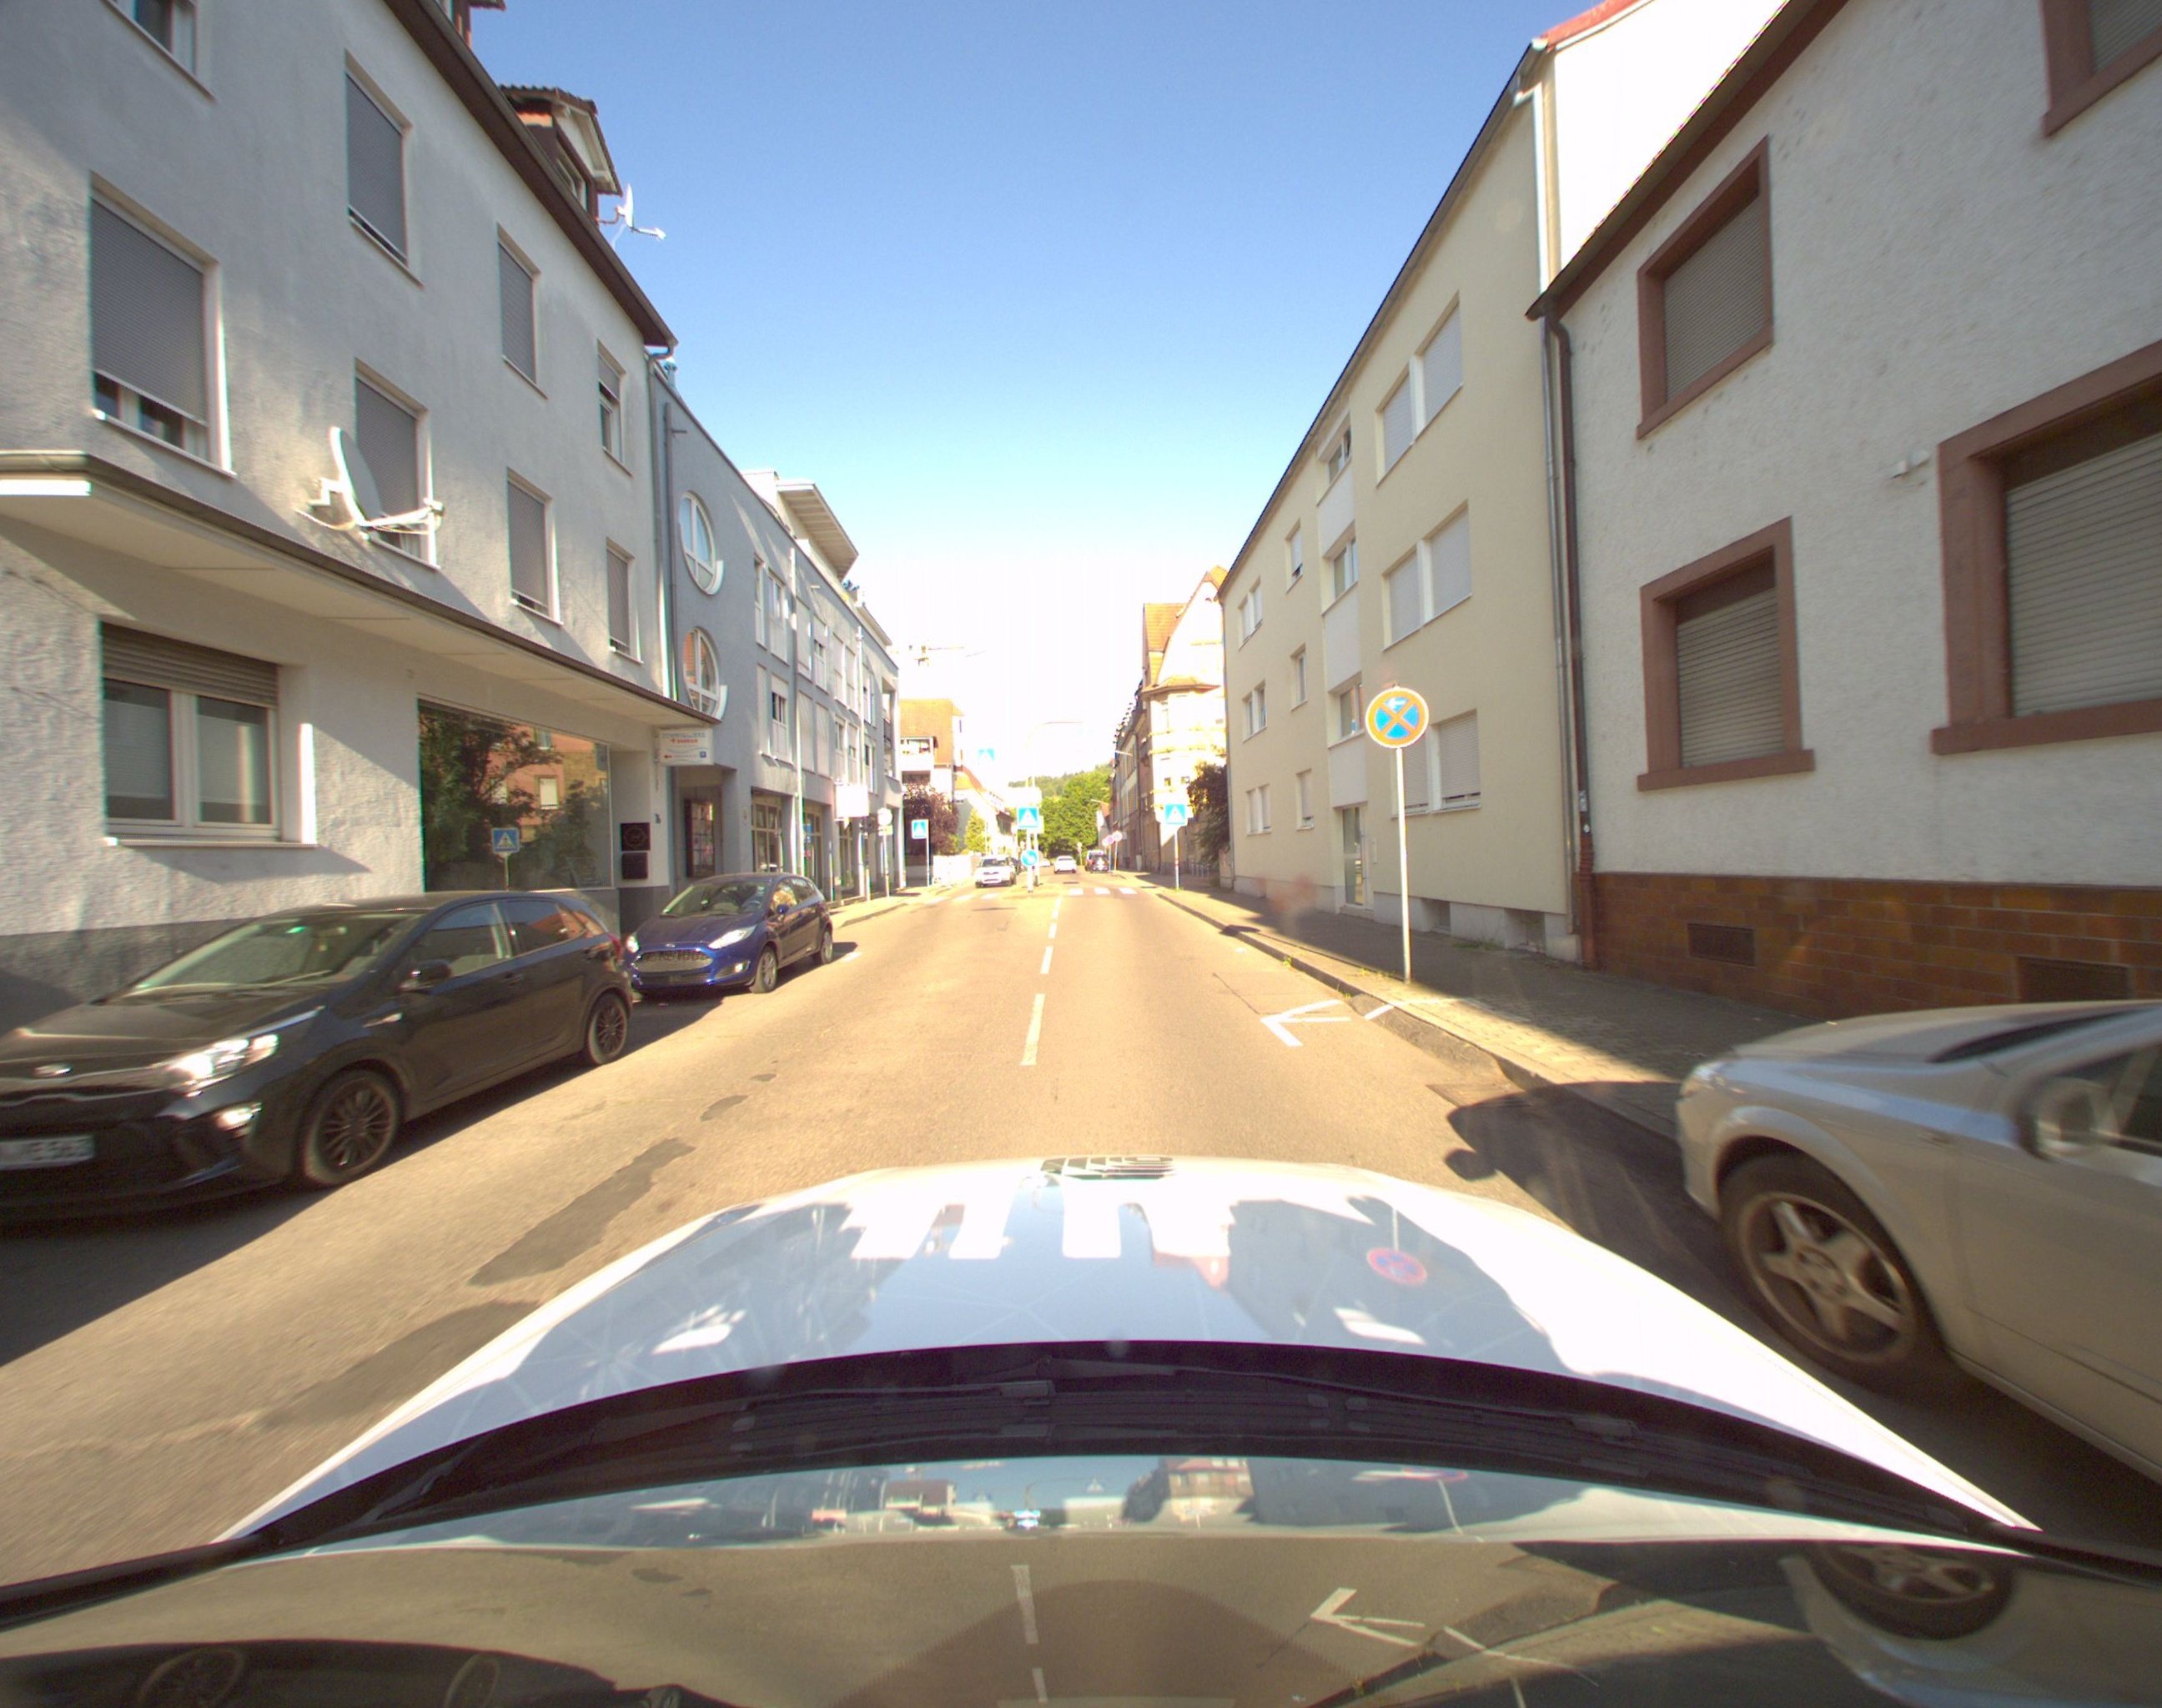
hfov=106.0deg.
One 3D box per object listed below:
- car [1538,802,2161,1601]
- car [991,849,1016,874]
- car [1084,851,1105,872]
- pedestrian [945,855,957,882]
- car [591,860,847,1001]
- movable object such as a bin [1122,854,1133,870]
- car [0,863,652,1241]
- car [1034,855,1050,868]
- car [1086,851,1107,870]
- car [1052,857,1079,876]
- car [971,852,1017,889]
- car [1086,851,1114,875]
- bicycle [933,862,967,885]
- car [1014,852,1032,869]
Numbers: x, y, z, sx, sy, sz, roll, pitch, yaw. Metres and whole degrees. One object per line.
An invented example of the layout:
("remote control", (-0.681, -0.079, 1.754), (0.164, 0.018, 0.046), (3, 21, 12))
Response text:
("car", (2.883, 0.624, 1.277), (1.736, 1.492, 4.437), (-4, 0, -1))
("car", (-6.660, 0.615, 70.373), (1.989, 2.013, 3.995), (-2, 0, -3))
("car", (1.351, 0.705, 82.274), (1.836, 1.905, 3.997), (-3, 1, -2))
("pedestrian", (-7.352, 0.806, 45.915), (0.556, 1.472, 0.600), (-2, 0, -5))
("car", (-4.721, 0.886, 11.322), (1.725, 1.499, 3.958), (-3, 0, 0))
("movable object such as a bin", (4.392, 0.746, 76.786), (0.870, 1.377, 0.684), (-4, 1, -5))
("car", (-4.638, 0.873, 5.352), (1.656, 1.526, 3.806), (-2, 0, -2))
("car", (-6.547, 1.232, 137.163), (1.995, 2.013, 3.983), (-2, 0, -12))
("car", (1.470, 0.633, 77.356), (1.812, 1.630, 4.001), (-3, 1, 1))
("car", (-1.317, 1.019, 67.247), (1.990, 1.466, 3.994), (-2, 0, -4))
("car", (-4.451, 0.814, 42.087), (1.801, 1.701, 4.192), (-2, 0, 1))
("car", (1.489, 0.721, 65.994), (2.006, 1.853, 3.996), (-1, 0, -3))
("bicycle", (-7.335, 1.072, 45.605), (1.781, 1.184, 0.598), (-3, 0, -1))
("car", (-6.891, 0.749, 97.319), (1.906, 1.760, 4.125), (-3, 1, -2))
